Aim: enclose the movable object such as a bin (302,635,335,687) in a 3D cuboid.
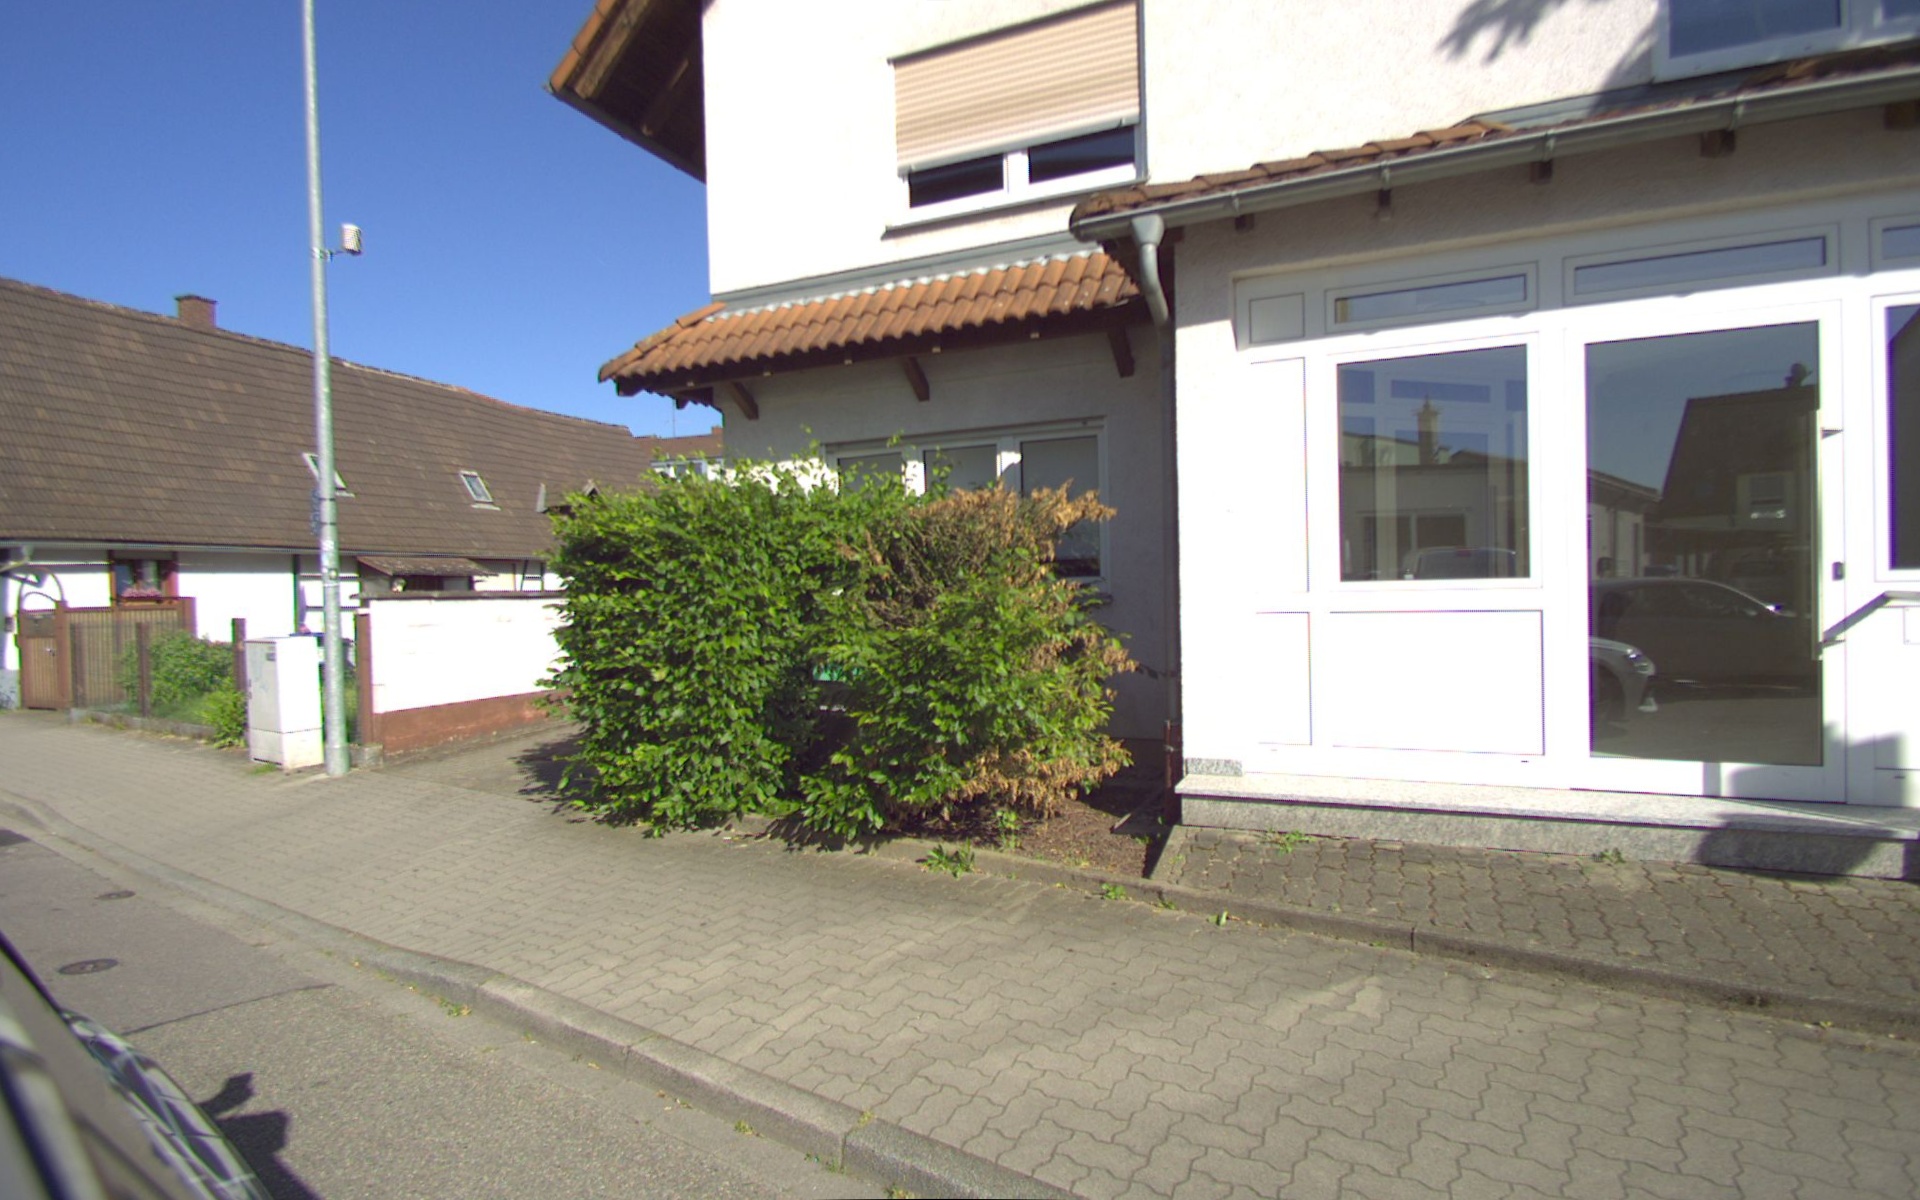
[{"bbox_3d":[-13.178,1.245,20.784,0.360,1.023,0.415,-2,1,23],"label":"movable object such as a bin"}]
